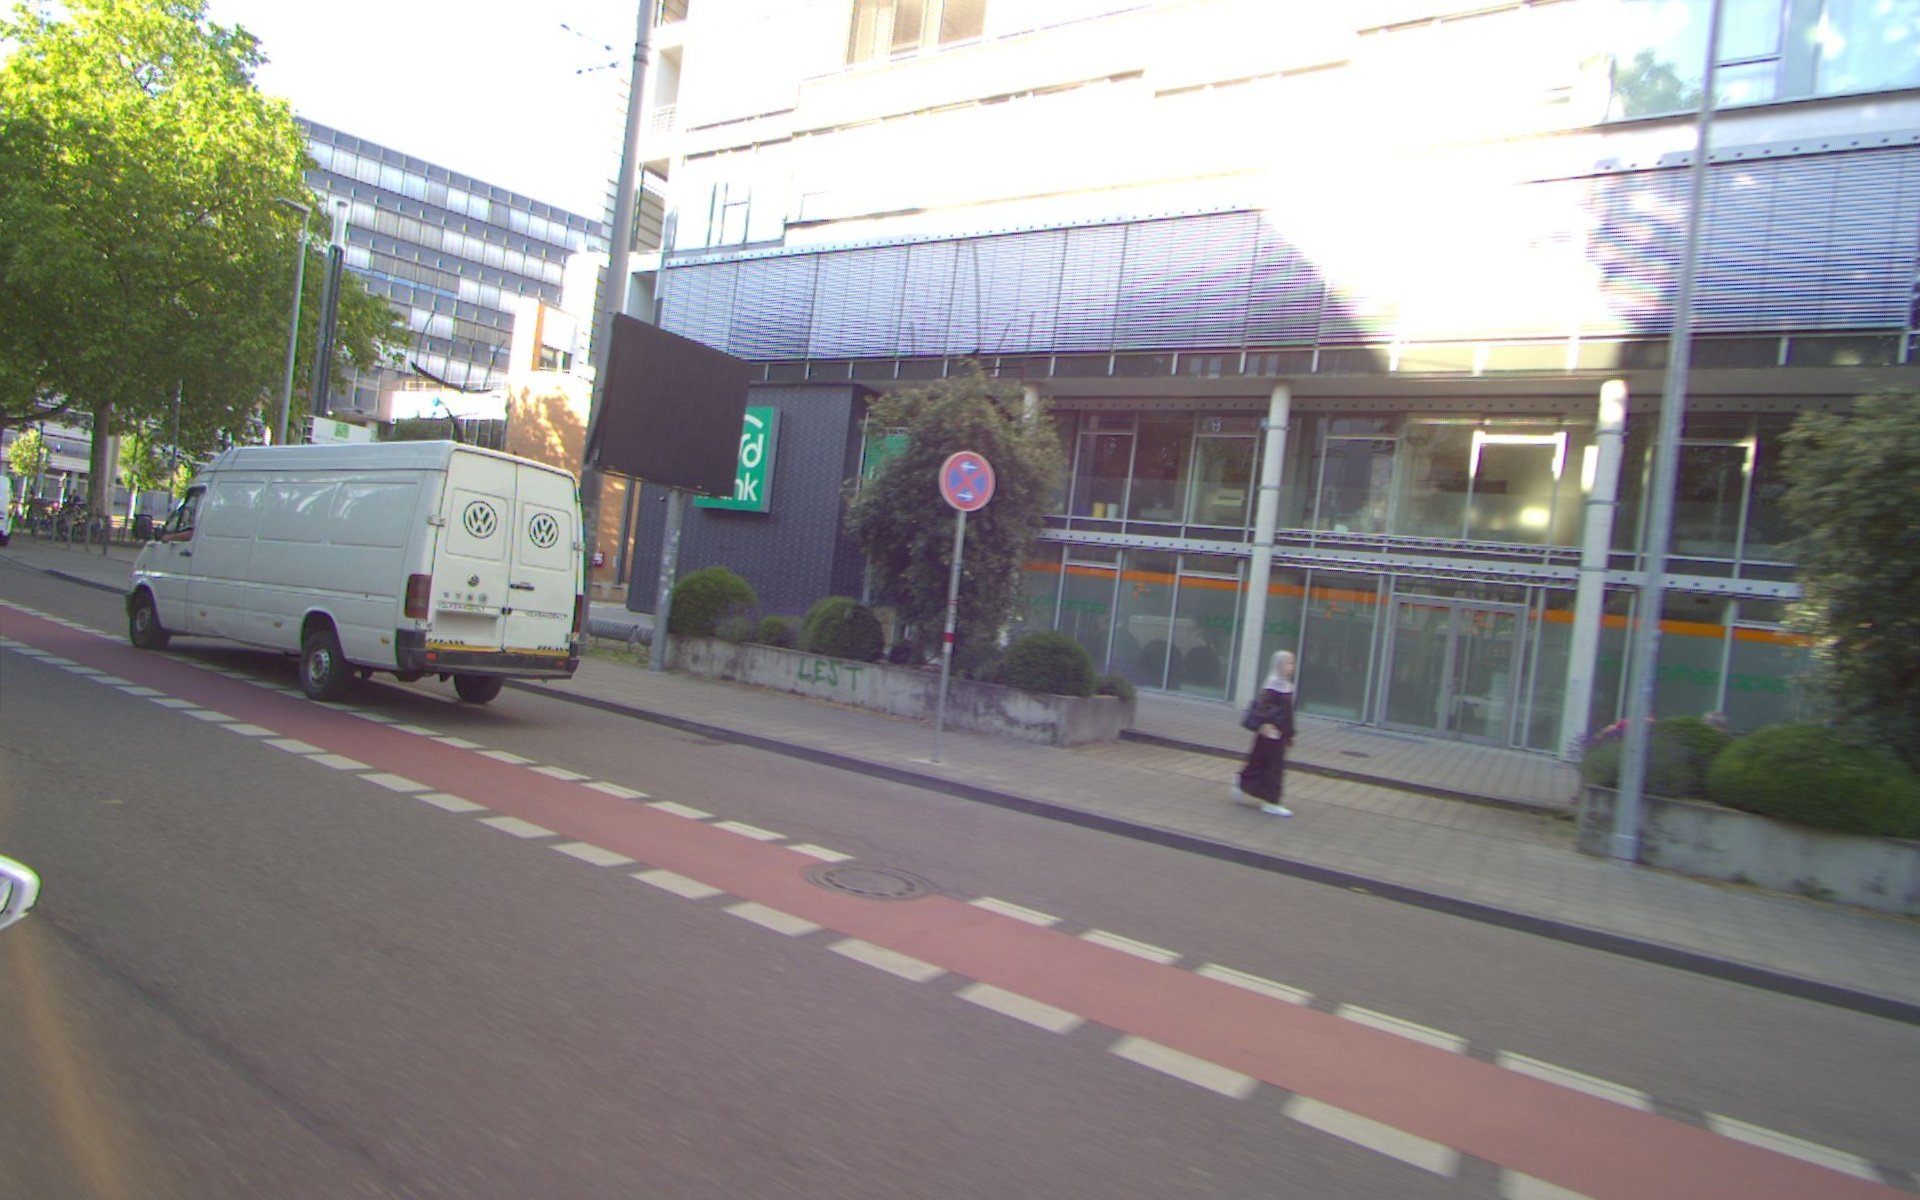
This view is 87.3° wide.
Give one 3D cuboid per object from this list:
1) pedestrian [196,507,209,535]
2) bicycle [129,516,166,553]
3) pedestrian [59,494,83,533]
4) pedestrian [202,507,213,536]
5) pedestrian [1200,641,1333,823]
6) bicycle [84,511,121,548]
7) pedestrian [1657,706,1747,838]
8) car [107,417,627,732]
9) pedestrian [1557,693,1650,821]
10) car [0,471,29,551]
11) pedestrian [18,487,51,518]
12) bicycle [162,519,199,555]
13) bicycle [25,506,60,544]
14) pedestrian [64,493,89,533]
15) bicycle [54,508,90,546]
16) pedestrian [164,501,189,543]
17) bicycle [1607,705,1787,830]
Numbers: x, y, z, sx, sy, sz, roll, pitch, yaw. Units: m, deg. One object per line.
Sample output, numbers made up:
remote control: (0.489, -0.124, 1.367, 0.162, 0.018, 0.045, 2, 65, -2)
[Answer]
pedestrian: (-42.666, -4.443, 56.657, 0.392, 1.562, 0.281, 6, 1, -44)
bicycle: (-29.898, -2.416, 36.988, 2.369, 1.151, 0.661, 7, 0, 43)
pedestrian: (-46.308, -4.523, 52.389, 0.708, 1.911, 0.637, 7, 1, 32)
pedestrian: (-42.154, -4.384, 56.347, 0.340, 1.562, 0.281, 6, 1, -44)
pedestrian: (3.009, 1.260, 9.866, 0.897, 1.594, 0.752, 7, 1, 34)
bicycle: (-30.760, -2.529, 36.075, 2.369, 1.151, 0.661, 7, 0, 43)
pedestrian: (8.037, 1.837, 10.919, 0.534, 1.287, 0.785, 7, 0, 27)
car: (-6.947, -0.431, 11.435, 6.451, 2.756, 1.998, 7, -1, 31)
pedestrian: (7.267, 1.752, 11.395, 0.681, 1.287, 0.752, 7, 0, 28)
car: (-29.230, -2.805, 29.130, 5.205, 2.161, 2.124, 7, 0, 35)
pedestrian: (-63.042, -6.648, 68.521, 1.023, 1.843, 1.213, 7, -1, 24)
bicycle: (-29.270, -2.380, 37.753, 2.369, 1.151, 0.661, 7, 0, 43)
bicycle: (-31.773, -2.599, 34.827, 2.369, 1.151, 0.661, 7, 0, 43)
pedestrian: (-45.697, -4.507, 52.044, 0.708, 1.911, 0.637, 7, 1, 32)
bicycle: (-31.262, -2.573, 35.390, 2.369, 1.151, 0.661, 7, 0, 43)
pedestrian: (-37.354, -3.724, 47.960, 0.554, 1.865, 0.643, 7, 1, 26)
bicycle: (8.770, 1.965, 12.053, 1.585, 1.176, 0.533, 7, 0, 32)
